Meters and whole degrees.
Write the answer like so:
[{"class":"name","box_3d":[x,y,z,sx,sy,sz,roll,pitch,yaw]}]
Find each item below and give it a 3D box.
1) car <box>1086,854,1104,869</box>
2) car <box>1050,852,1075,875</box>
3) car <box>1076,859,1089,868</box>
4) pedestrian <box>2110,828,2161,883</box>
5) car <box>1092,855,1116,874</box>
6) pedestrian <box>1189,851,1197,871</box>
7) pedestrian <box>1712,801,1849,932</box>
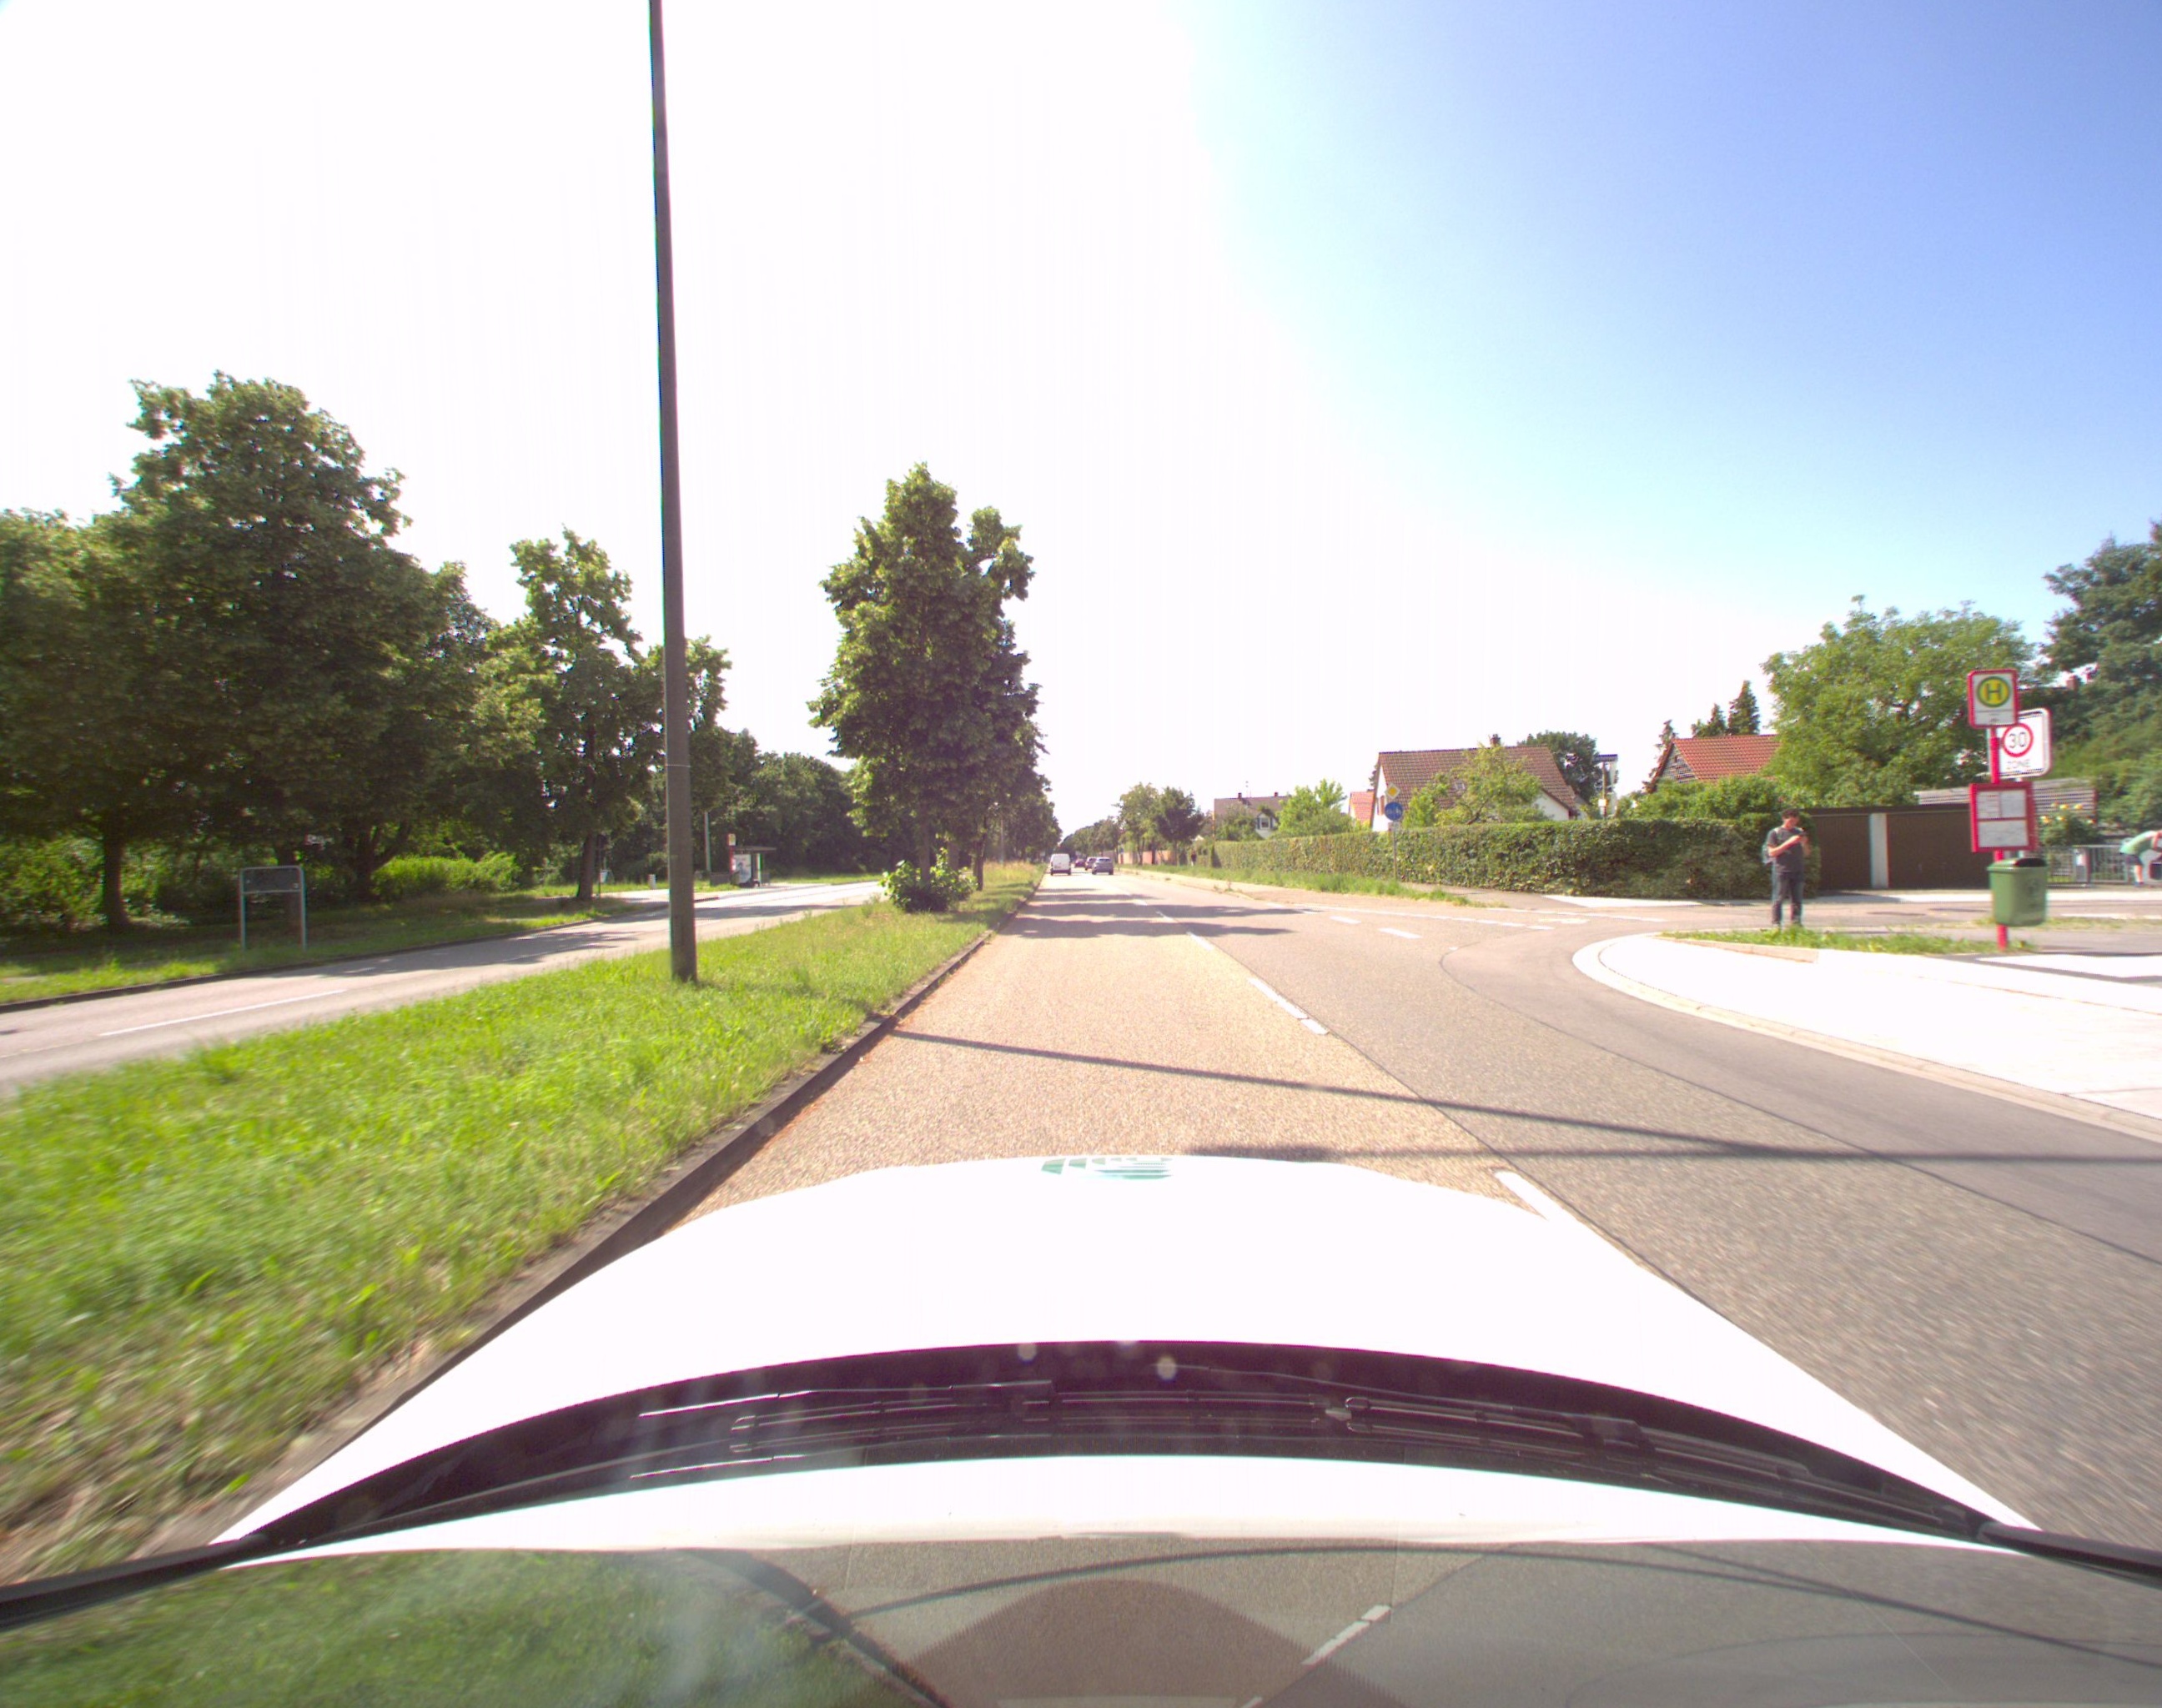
[{"class":"car","box_3d":[1.687,0.896,98.649,1.870,1.652,3.997,-2,0,-2]},{"class":"car","box_3d":[-1.646,0.814,70.748,2.061,1.912,4.642,-1,0,-2]},{"class":"car","box_3d":[0.225,1.590,136.996,1.875,1.587,3.997,-1,0,-2]},{"class":"pedestrian","box_3d":[25.569,0.036,19.612,0.638,1.300,0.917,-1,0,-35]},{"class":"car","box_3d":[2.024,0.963,72.492,1.870,1.589,4.181,-2,0,-2]},{"class":"pedestrian","box_3d":[9.710,0.586,70.614,0.558,1.677,0.633,-1,-1,-3]},{"class":"pedestrian","box_3d":[10.403,0.200,12.171,0.951,1.824,1.087,-3,-3,1]}]
